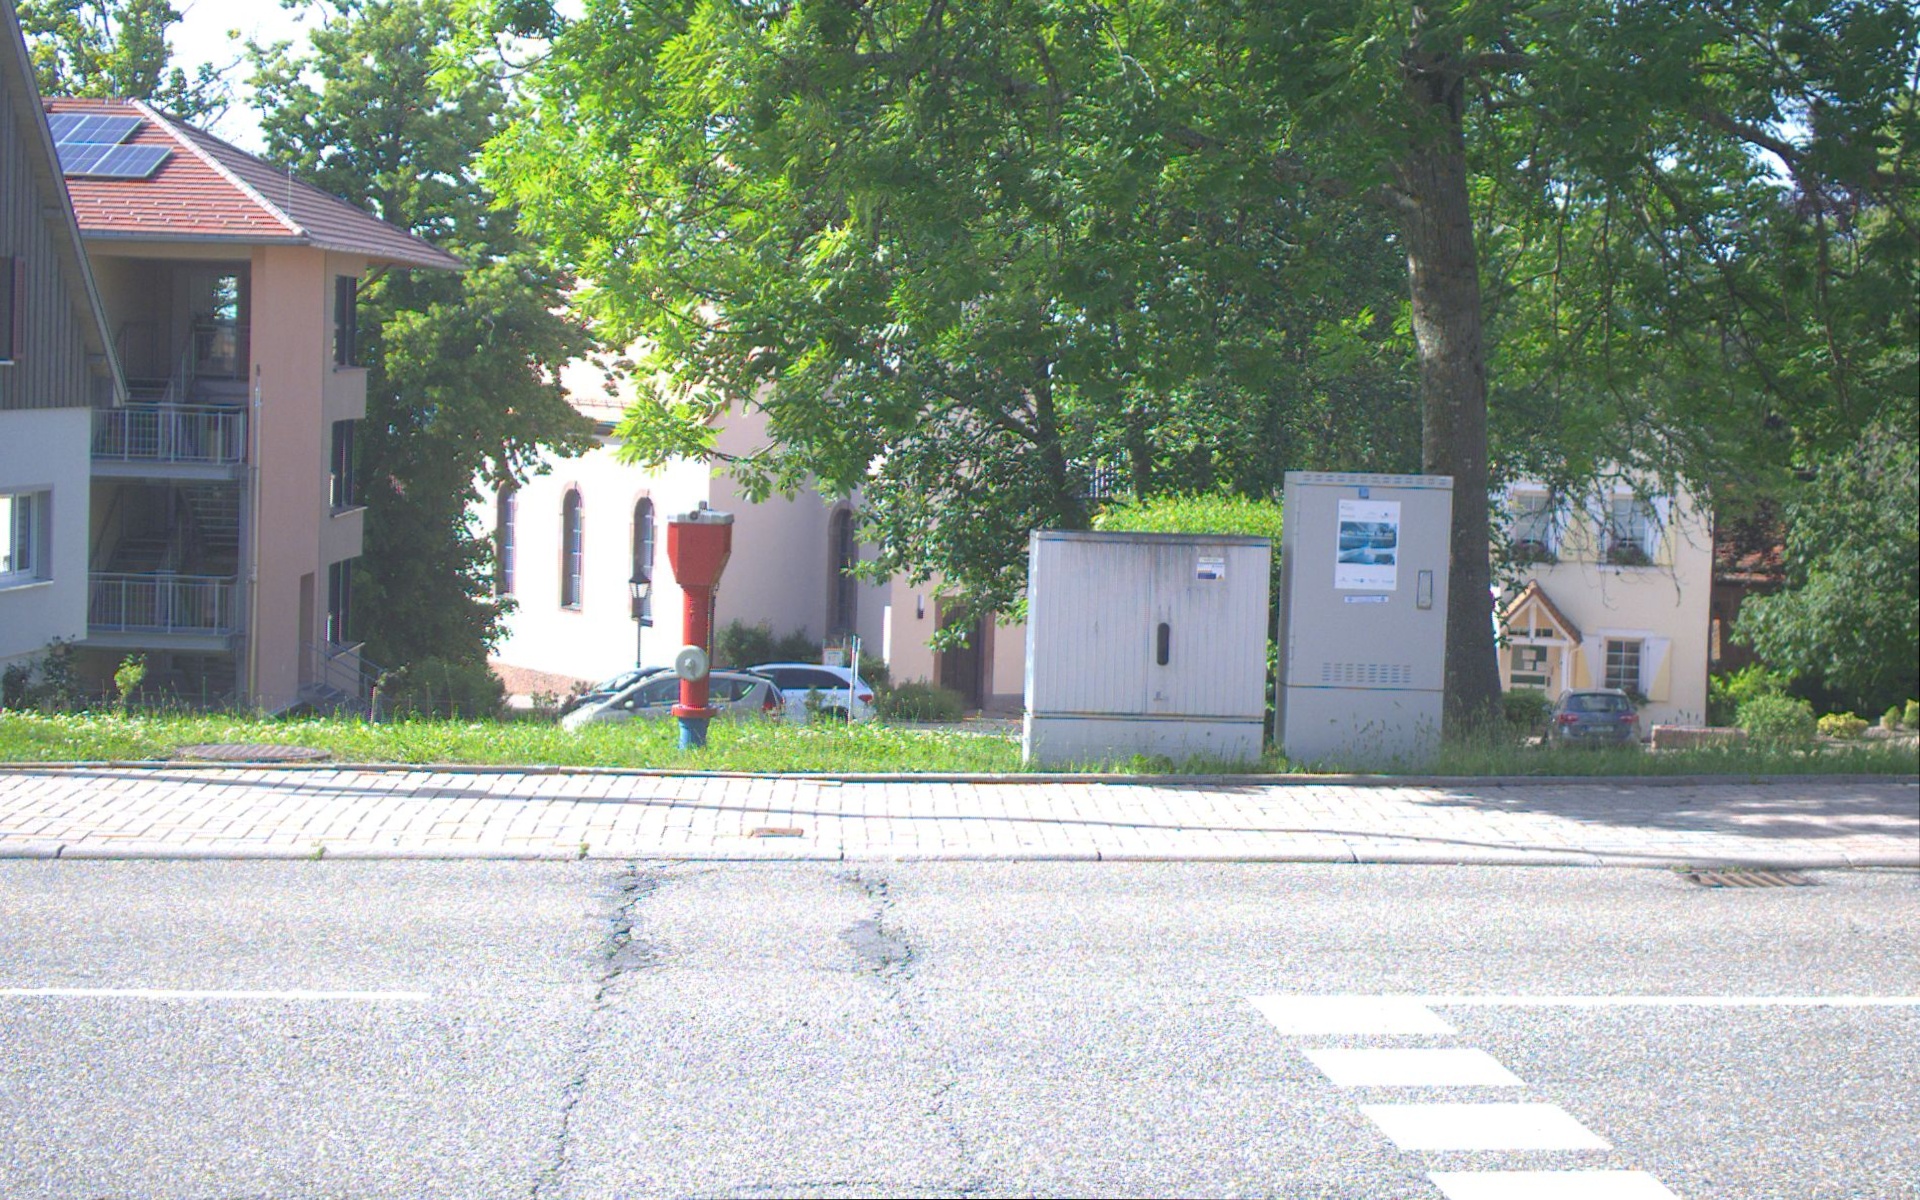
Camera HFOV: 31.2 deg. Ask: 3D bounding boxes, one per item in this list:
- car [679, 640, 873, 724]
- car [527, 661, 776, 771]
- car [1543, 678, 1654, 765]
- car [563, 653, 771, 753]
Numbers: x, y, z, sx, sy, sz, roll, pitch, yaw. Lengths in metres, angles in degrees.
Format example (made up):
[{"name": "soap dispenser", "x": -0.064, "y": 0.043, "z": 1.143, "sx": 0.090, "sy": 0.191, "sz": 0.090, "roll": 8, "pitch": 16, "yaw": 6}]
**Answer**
[{"name": "car", "x": -3.683, "y": 1.621, "z": 68.492, "sx": 3.772, "sy": 1.588, "sz": 1.714, "roll": 1, "pitch": 0, "yaw": -6}, {"name": "car", "x": -5.163, "y": 1.933, "z": 57.647, "sx": 4.089, "sy": 1.752, "sz": 1.714, "roll": 1, "pitch": 0, "yaw": -5}, {"name": "car", "x": 12.580, "y": 2.376, "z": 67.916, "sx": 1.708, "sy": 1.536, "sz": 3.785, "roll": 0, "pitch": 0, "yaw": 4}, {"name": "car", "x": -5.418, "y": 1.894, "z": 63.471, "sx": 3.772, "sy": 1.752, "sz": 1.714, "roll": 1, "pitch": 0, "yaw": -6}]
